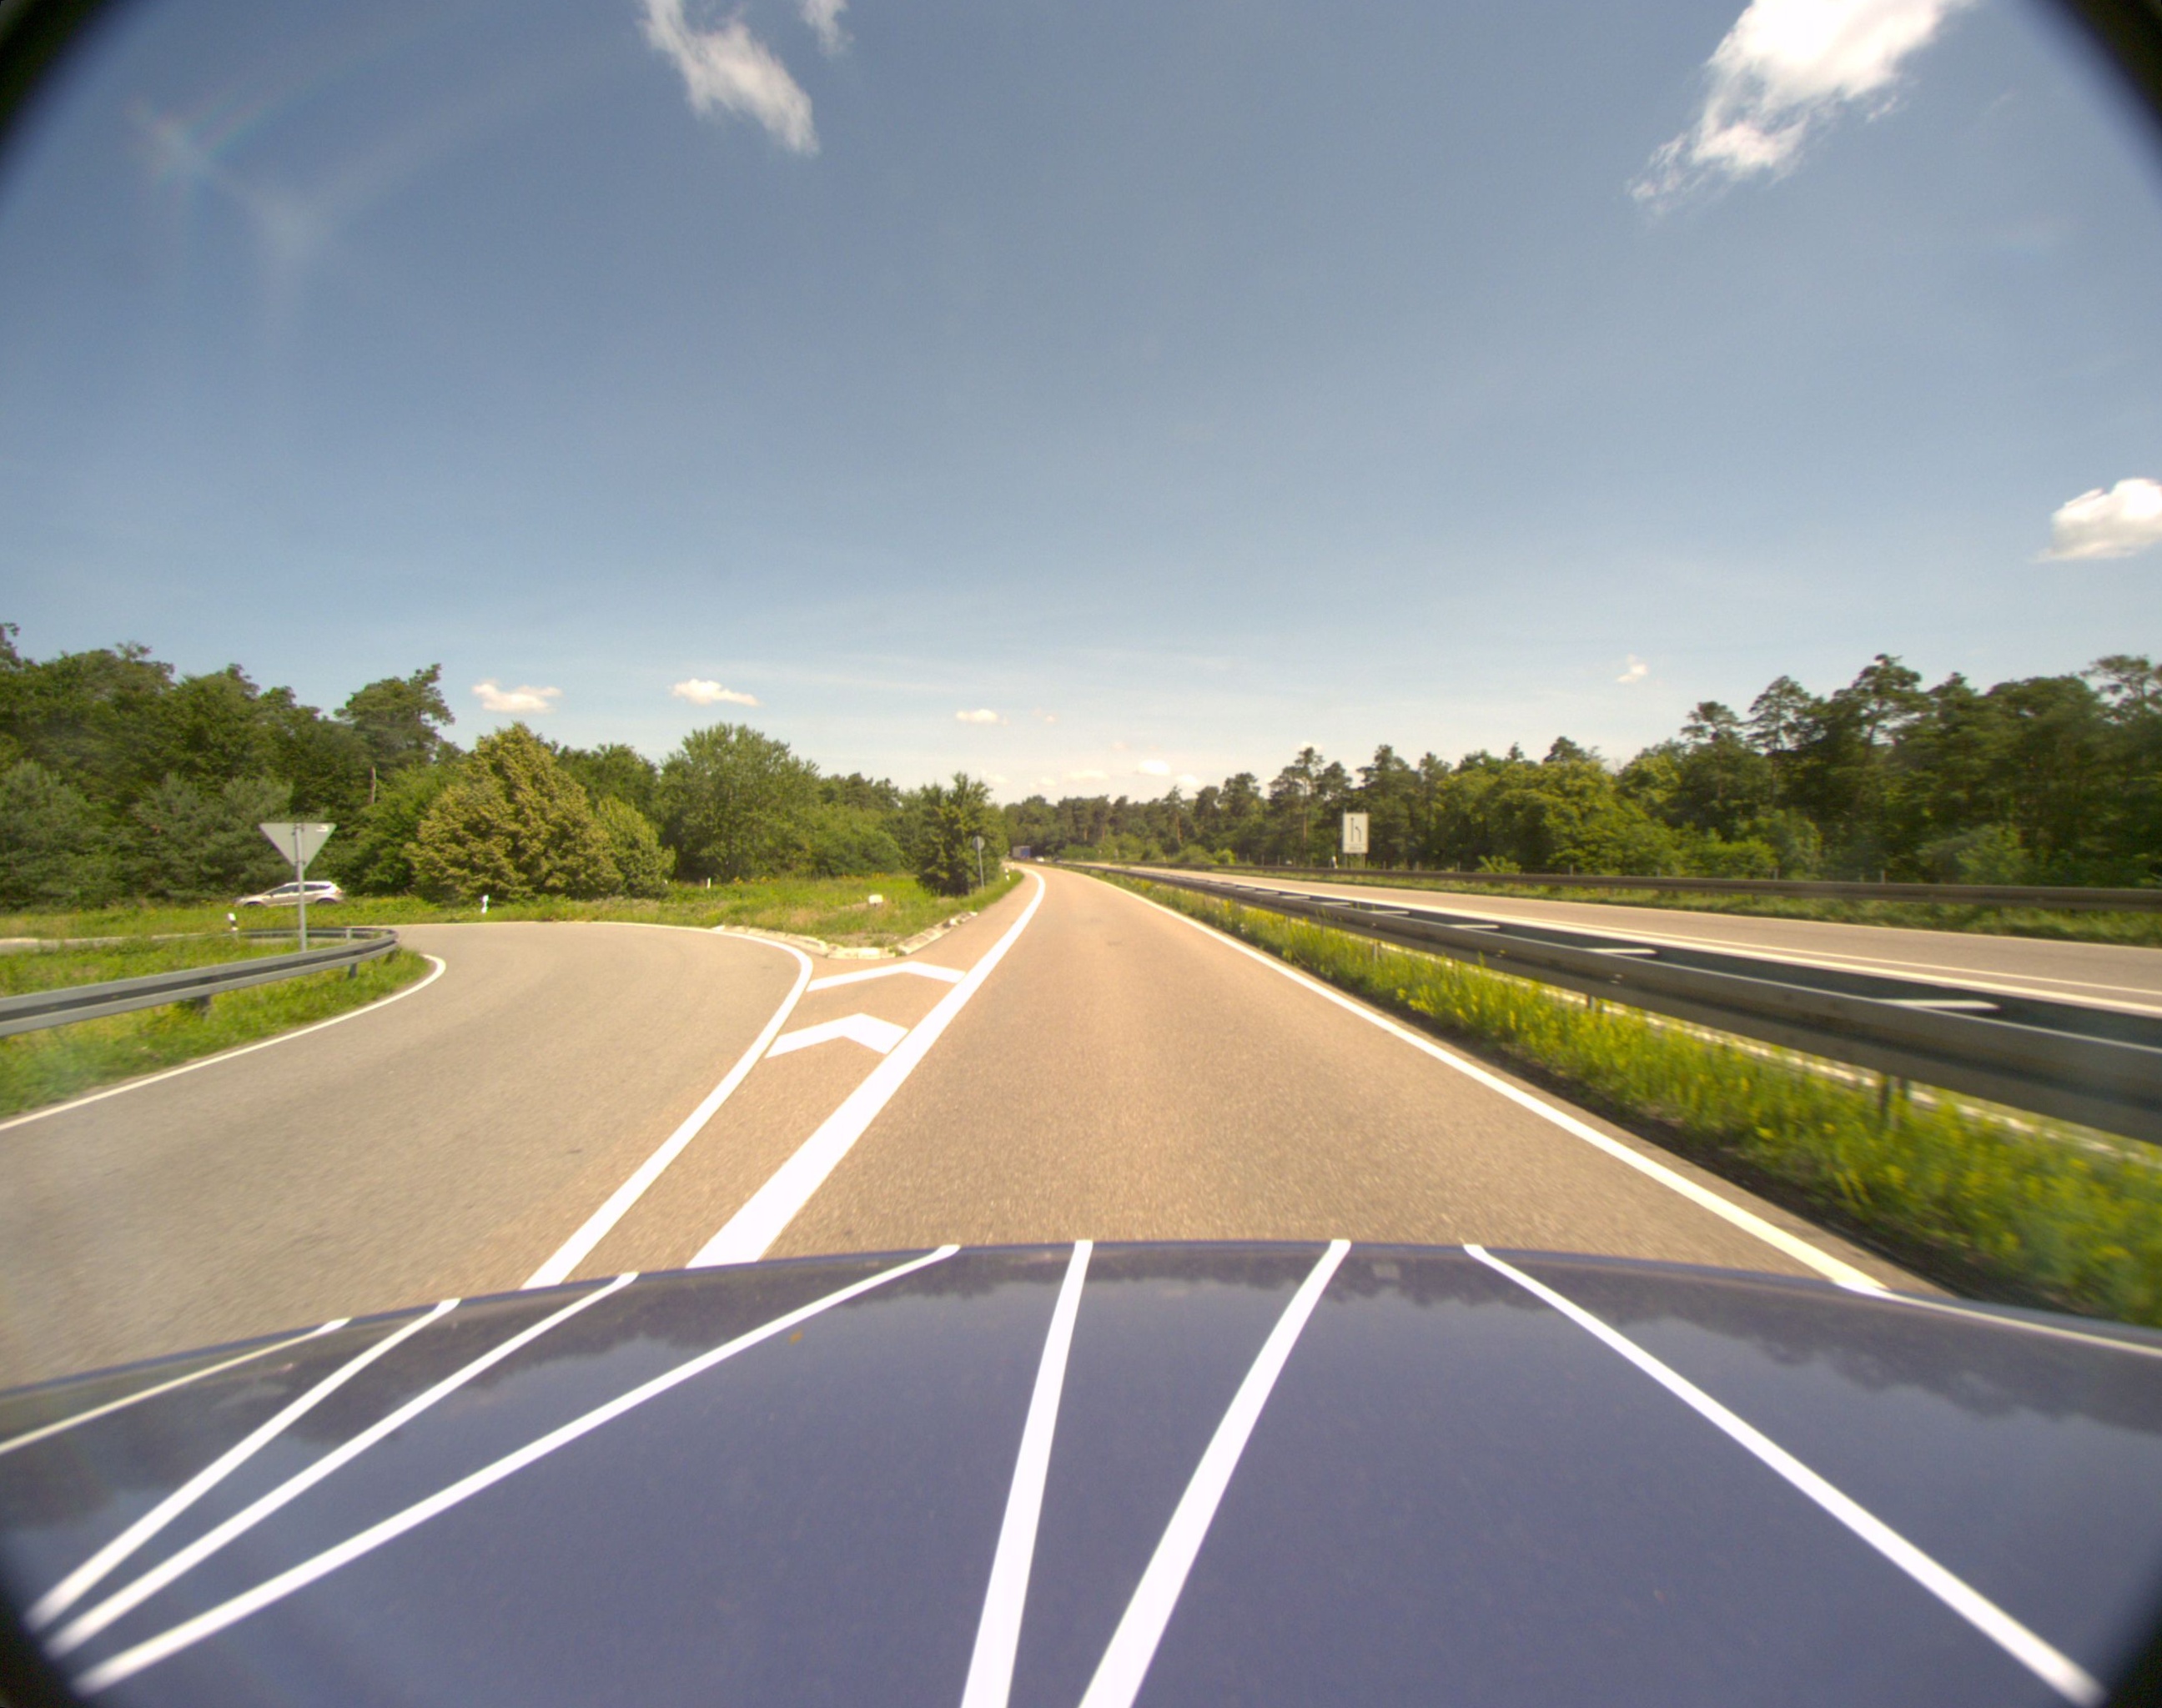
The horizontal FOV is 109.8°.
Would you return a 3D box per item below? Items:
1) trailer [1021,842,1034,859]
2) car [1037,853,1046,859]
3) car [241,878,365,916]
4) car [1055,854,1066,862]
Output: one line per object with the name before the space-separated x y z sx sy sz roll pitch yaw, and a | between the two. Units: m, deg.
trailer | -14.578 -0.973 206.543 2.754 4.148 14.573 -2 1 -6
car | -9.008 0.448 174.692 1.799 1.436 4.604 -2 0 -6
car | -43.557 2.371 42.690 4.674 1.656 1.895 -4 1 -45
car | -4.052 0.725 150.447 1.761 1.492 4.571 -2 0 -6
